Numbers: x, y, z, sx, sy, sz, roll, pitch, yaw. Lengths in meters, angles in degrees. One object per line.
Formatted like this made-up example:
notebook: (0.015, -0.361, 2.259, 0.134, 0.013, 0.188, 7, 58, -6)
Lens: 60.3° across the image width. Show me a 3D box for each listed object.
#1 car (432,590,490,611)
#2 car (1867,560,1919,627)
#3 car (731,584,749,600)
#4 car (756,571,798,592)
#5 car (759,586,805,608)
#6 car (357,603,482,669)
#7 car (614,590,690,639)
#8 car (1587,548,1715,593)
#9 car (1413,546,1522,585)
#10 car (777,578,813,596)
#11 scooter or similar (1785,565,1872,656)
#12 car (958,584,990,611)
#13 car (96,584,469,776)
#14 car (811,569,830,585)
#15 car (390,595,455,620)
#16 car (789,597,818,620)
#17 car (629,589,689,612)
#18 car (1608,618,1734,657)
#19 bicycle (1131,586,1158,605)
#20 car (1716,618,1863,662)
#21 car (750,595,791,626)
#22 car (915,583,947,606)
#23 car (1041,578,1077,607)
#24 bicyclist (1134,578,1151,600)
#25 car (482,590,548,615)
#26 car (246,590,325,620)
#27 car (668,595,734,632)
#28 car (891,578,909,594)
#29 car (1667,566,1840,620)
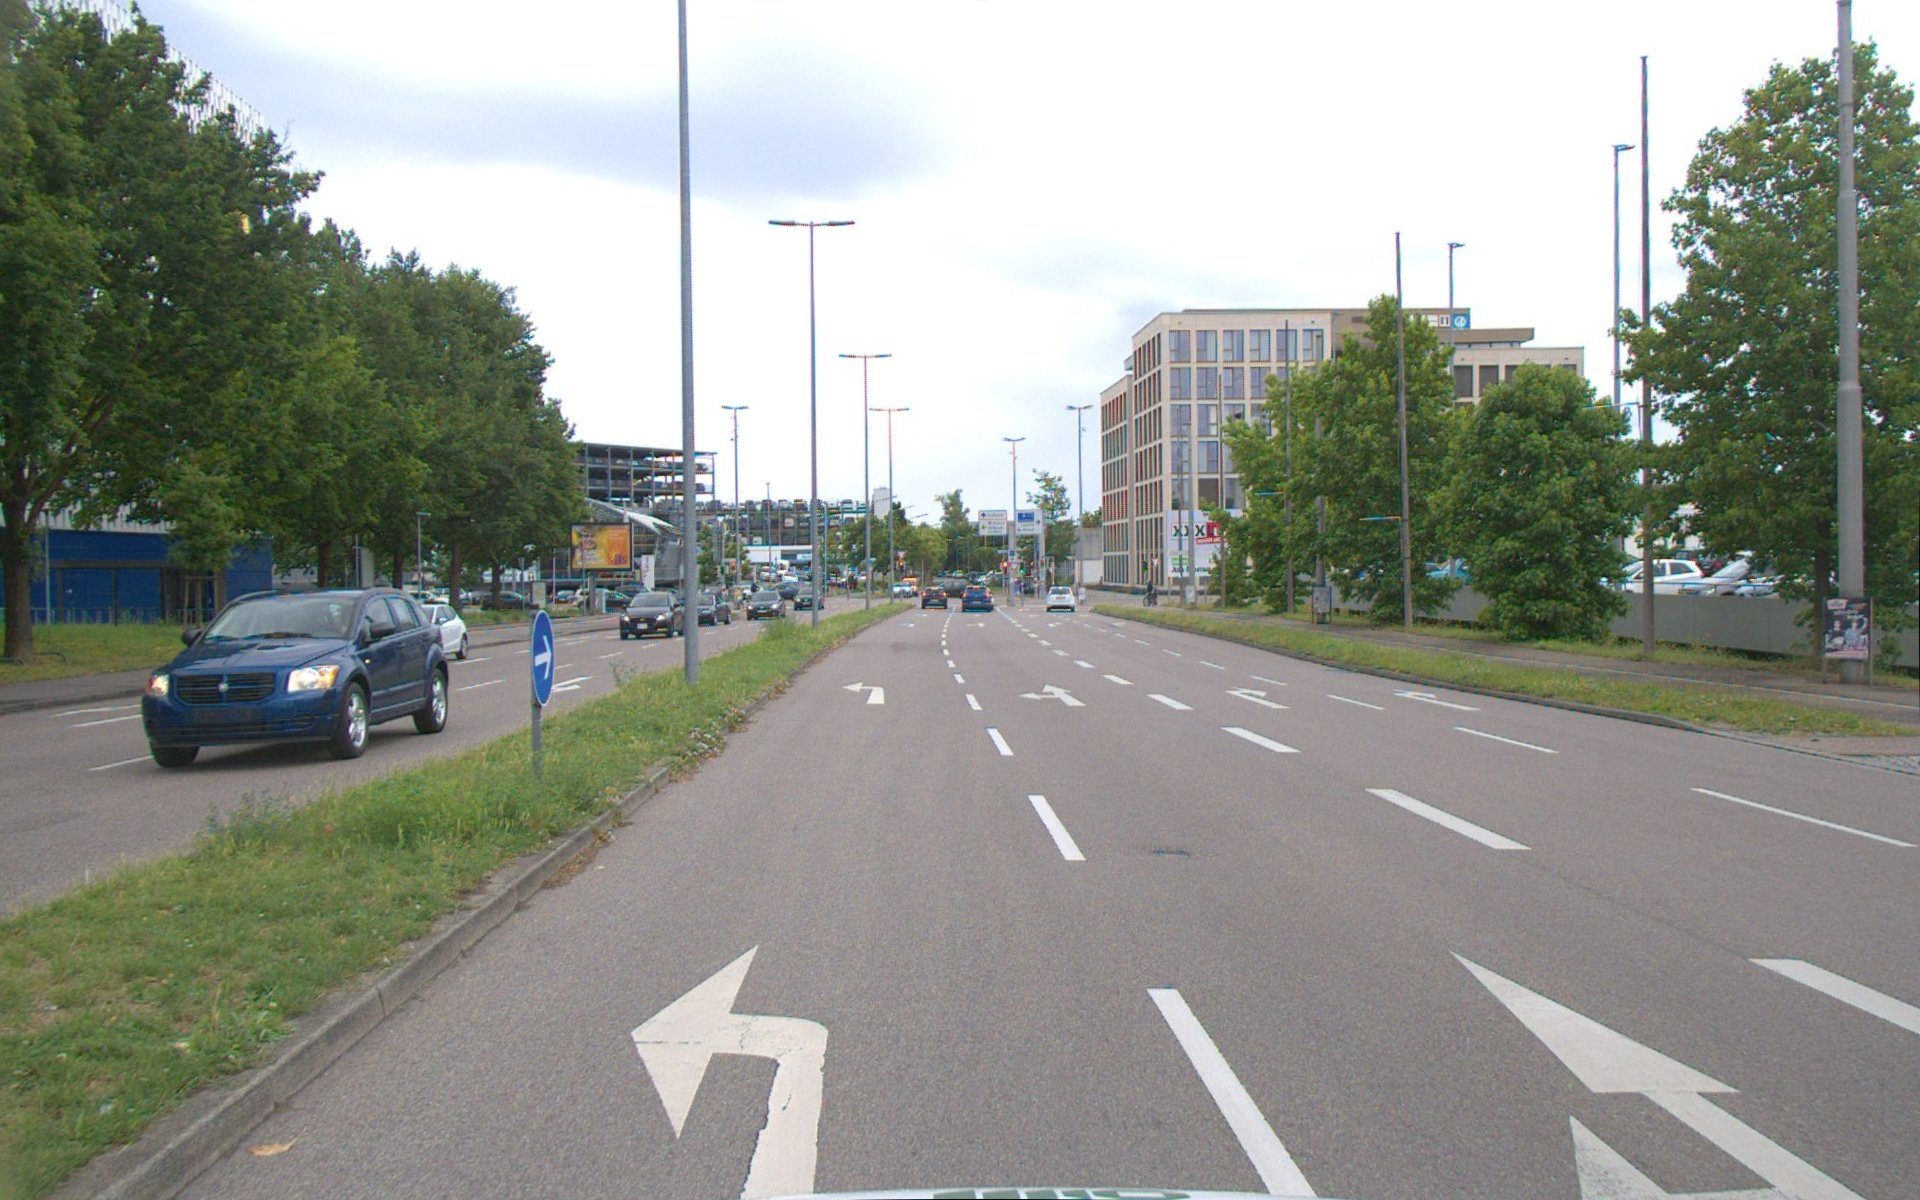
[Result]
car: (-41.709, 0.059, 138.268, 4.333, 1.689, 1.997, -1, 0, -8)
car: (22.260, -0.182, 36.140, 3.973, 1.373, 1.763, -1, 2, -3)
car: (-20.009, -0.754, 150.419, 1.347, 1.349, 3.026, -1, 3, -12)
car: (-17.216, -1.731, 155.690, 3.909, 1.821, 1.846, -1, 2, -6)
car: (-14.998, -0.272, 139.187, 3.782, 1.663, 1.723, -1, 2, -7)
car: (-13.547, 0.859, 41.696, 1.828, 1.479, 4.167, -2, 0, -2)
car: (-10.064, 0.448, 54.327, 1.722, 1.478, 4.000, -3, 0, -1)
car: (22.096, -0.954, 52.913, 3.447, 1.330, 1.604, -1, 2, -7)
car: (21.299, -1.466, 69.471, 3.988, 1.551, 1.810, -1, 2, -5)
car: (-16.521, -1.356, 166.038, 3.535, 1.696, 1.547, -1, 2, -6)
scooter or similar: (14.374, 0.167, 27.429, 0.636, 1.446, 1.820, -1, 0, 7)
car: (0.833, -0.171, 99.071, 1.797, 1.540, 4.000, -1, 1, -1)
car: (-6.306, 0.647, 16.014, 1.892, 1.512, 4.437, -2, 0, -3)
car: (-16.817, -2.795, 199.338, 1.738, 1.735, 3.919, 0, 3, 4)
car: (-41.095, 0.564, 126.440, 4.348, 1.740, 1.998, -1, 4, -6)
car: (-10.433, 0.551, 110.533, 1.893, 1.481, 4.177, 0, 1, -5)
car: (-22.667, 0.056, 124.769, 4.333, 1.689, 1.997, -1, 0, -8)
car: (26.578, 1.387, 61.940, 3.971, 1.374, 1.764, 0, 0, -1)
bicycle: (12.602, -0.310, 113.072, 0.694, 1.318, 1.985, -1, 1, -36)
car: (27.063, 1.300, 54.025, 3.973, 1.374, 1.763, 0, 0, -4)
car: (-9.934, 0.536, 86.839, 1.744, 1.481, 4.181, -3, 1, -2)
car: (-1.939, -0.362, 109.475, 1.948, 1.453, 4.239, -1, 0, -3)
car: (6.056, -0.471, 101.656, 1.953, 1.782, 4.180, -1, 0, 0)
bicyclist: (12.472, -0.756, 113.250, 0.695, 1.530, 0.987, -1, 1, -37)
car: (-33.243, 0.174, 123.619, 4.457, 1.688, 1.997, -2, 1, -8)
car: (-49.899, 0.372, 122.424, 5.032, 1.998, 1.879, -1, 3, -6)
car: (-11.408, 0.576, 73.003, 1.734, 1.477, 4.408, -3, 0, 6)
car: (-5.751, -1.357, 159.348, 1.568, 1.478, 3.325, -1, 3, 0)
car: (21.980, -0.200, 45.915, 3.973, 1.373, 1.763, -1, 2, -3)
